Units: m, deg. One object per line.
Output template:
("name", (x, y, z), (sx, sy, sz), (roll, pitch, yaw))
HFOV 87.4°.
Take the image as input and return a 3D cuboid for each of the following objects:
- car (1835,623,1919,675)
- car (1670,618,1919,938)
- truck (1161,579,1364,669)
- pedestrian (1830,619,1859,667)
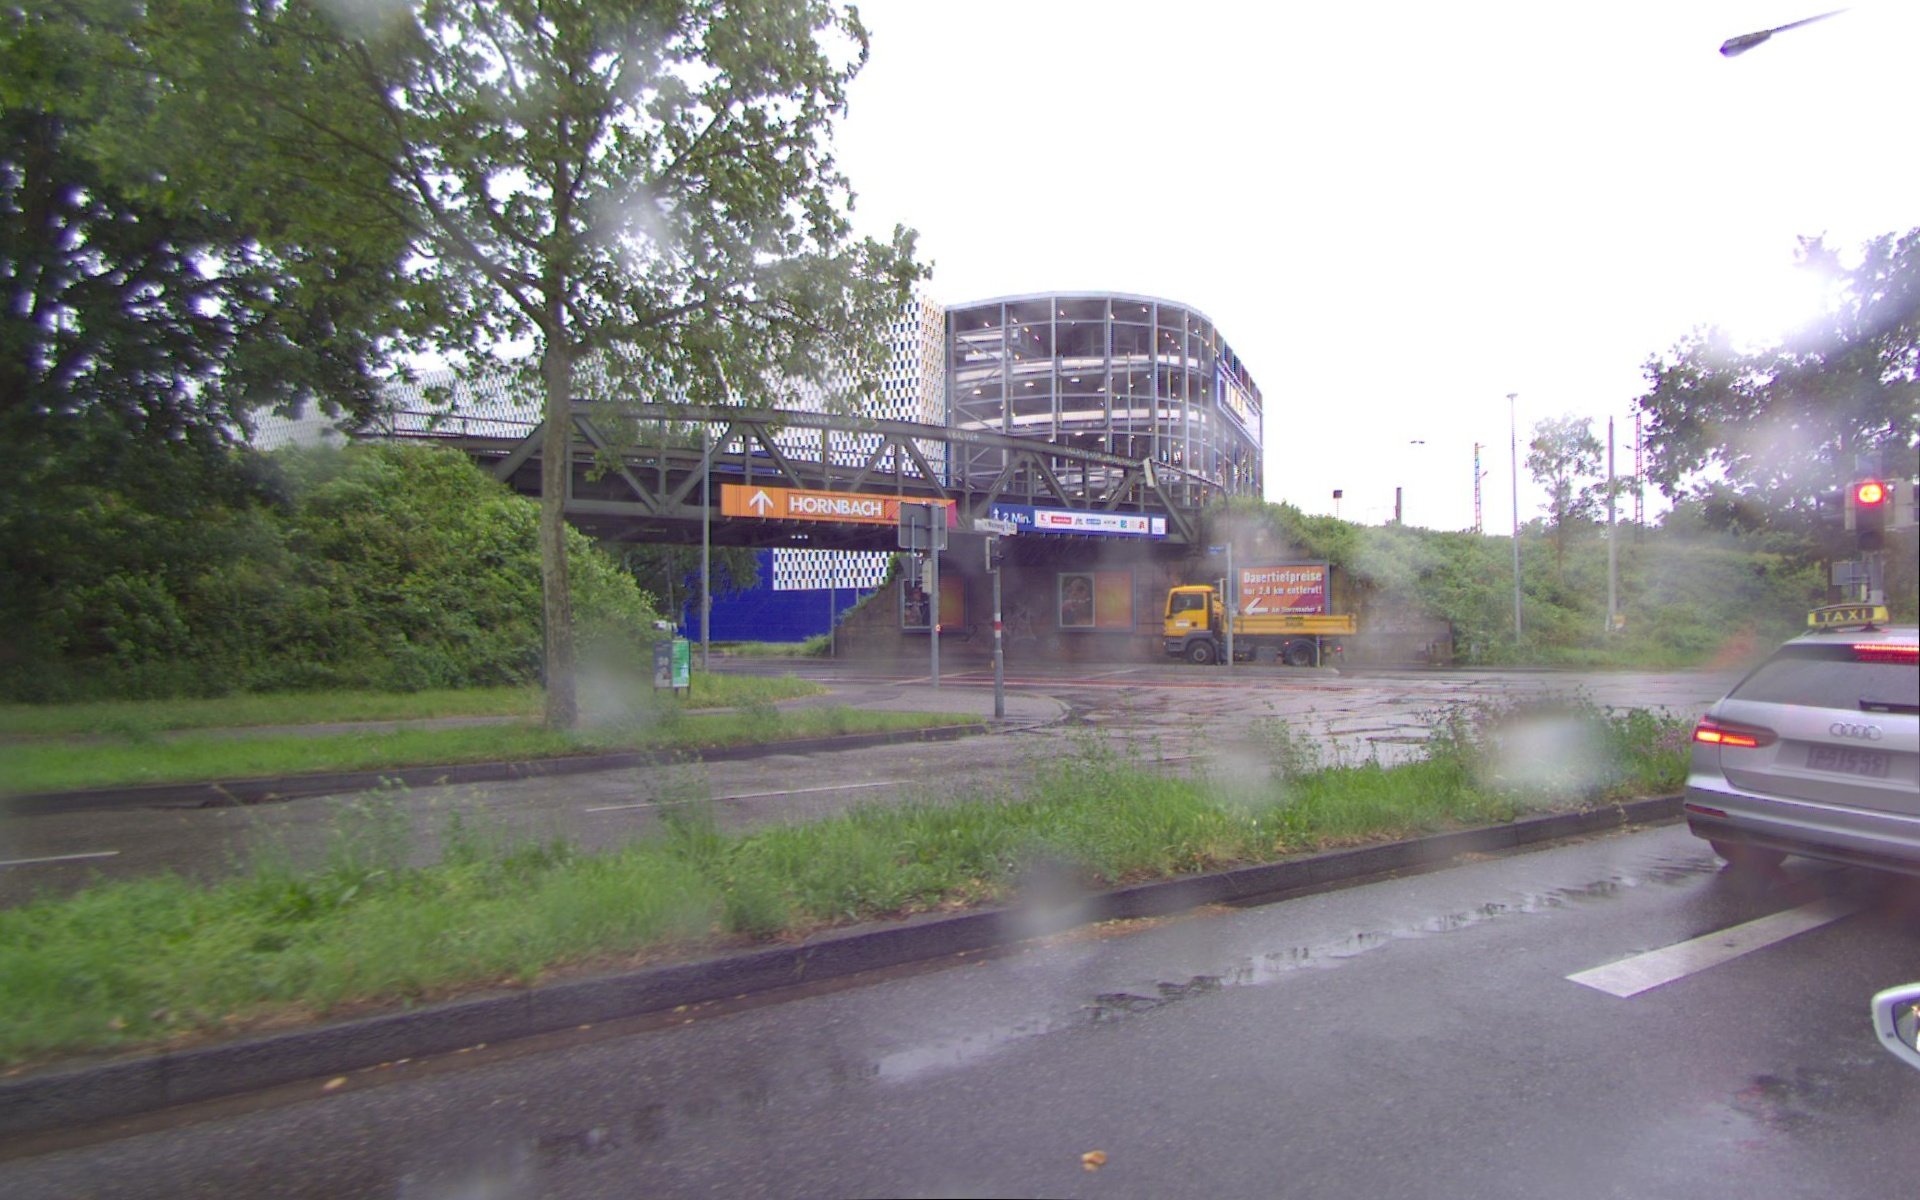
("car", (28.764, 1.450, 29.723), (3.923, 1.505, 1.818), (0, -2, 22))
("car", (6.240, 0.862, 5.903), (4.521, 1.452, 1.682), (1, -1, -30))
("truck", (11.160, 0.886, 37.101), (6.914, 3.094, 2.646), (-1, -2, 23))
("pedestrian", (34.116, 1.650, 38.760), (0.661, 1.809, 0.533), (2, 0, -12))
